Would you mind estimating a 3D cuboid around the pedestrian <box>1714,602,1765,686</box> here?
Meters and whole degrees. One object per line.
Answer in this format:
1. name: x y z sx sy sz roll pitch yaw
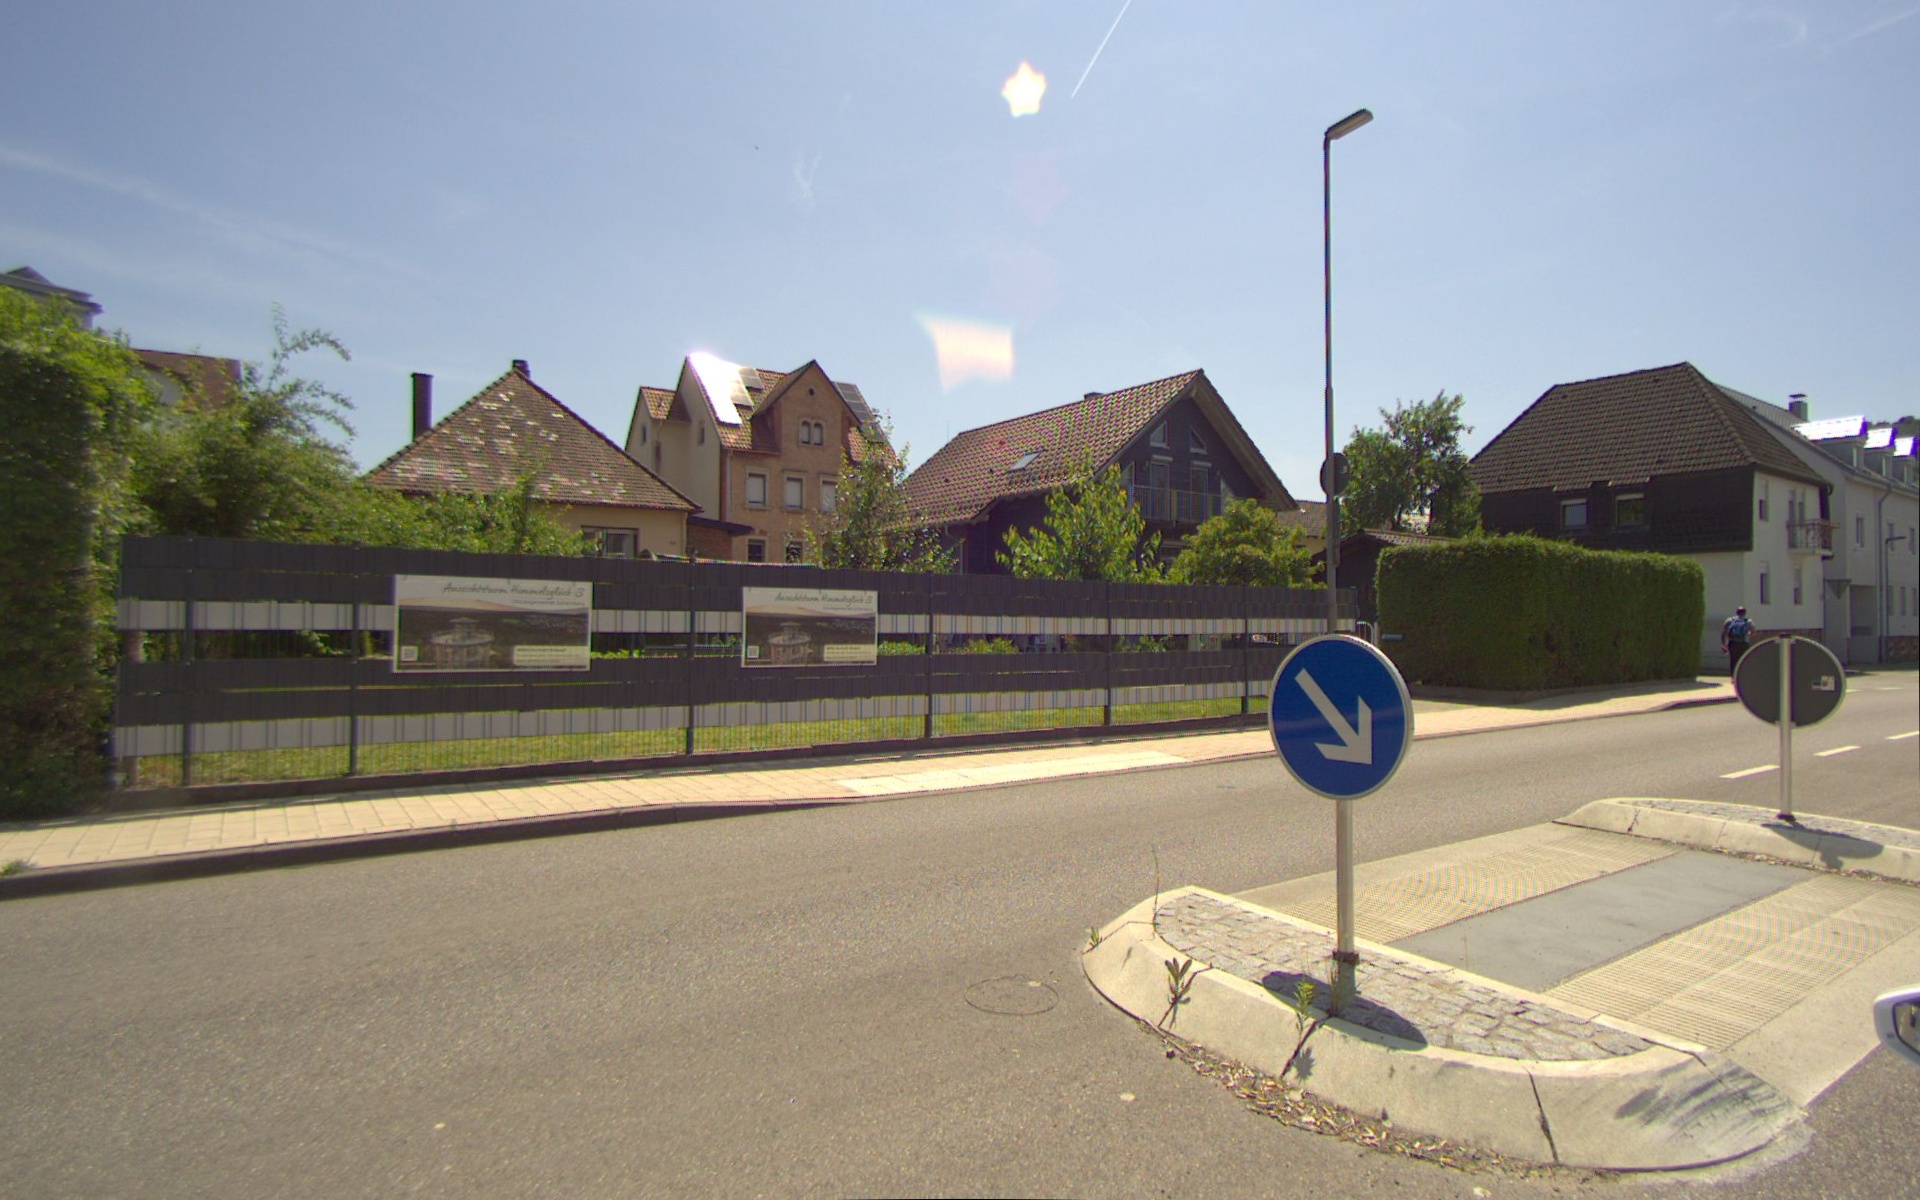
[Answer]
1. pedestrian: 17.777 1.001 22.902 0.891 1.847 0.706 2 0 -39
